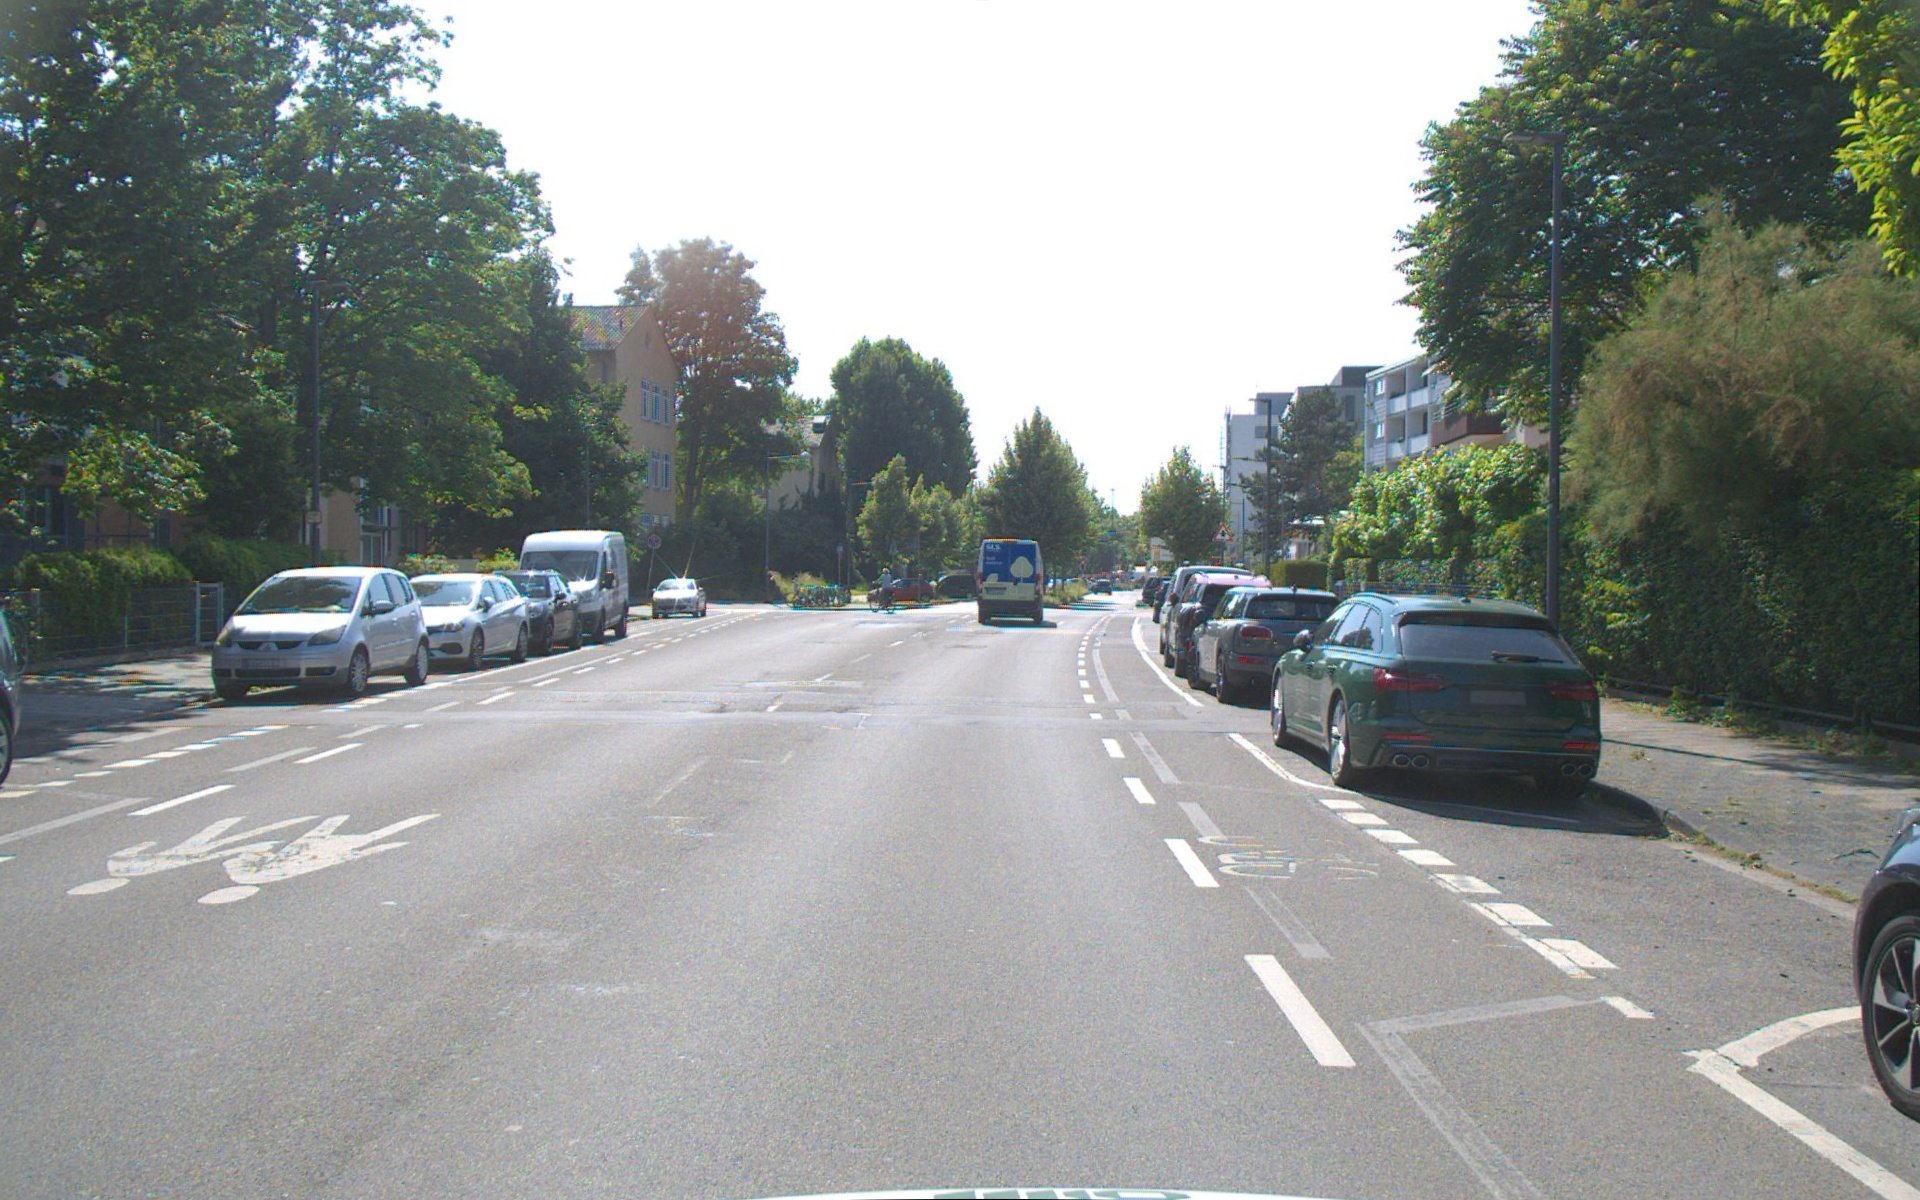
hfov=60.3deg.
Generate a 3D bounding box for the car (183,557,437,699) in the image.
[{"bbox_3d":[-8.092,0.309,20.956,1.798,1.623,3.774,0,0,-2],"label":"car"}]

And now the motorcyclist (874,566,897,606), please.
[{"bbox_3d":[-2.892,-0.563,64.356,0.666,1.545,0.644,-1,0,-35],"label":"motorcyclist"}]

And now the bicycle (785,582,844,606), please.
[{"bbox_3d":[-6.699,-0.284,76.054,2.640,1.066,1.023,-1,0,-11],"label":"bicycle"}]

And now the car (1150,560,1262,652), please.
[{"bbox_3d":[4.831,0.078,32.889,1.665,1.706,3.775,0,1,0],"label":"car"}]

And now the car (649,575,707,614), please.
[{"bbox_3d":[-10.117,-0.220,59.555,1.720,1.367,3.651,0,1,-4],"label":"car"}]

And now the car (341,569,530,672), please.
[{"bbox_3d":[-8.310,0.267,26.541,1.797,1.522,3.654,0,1,1],"label":"car"}]

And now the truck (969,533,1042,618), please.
[{"bbox_3d":[1.493,-0.790,53.424,2.225,2.616,4.393,0,1,2],"label":"truck"}]

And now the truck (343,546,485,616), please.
[{"bbox_3d":[-23.908,-0.838,72.673,5.560,2.998,2.218,0,0,-8],"label":"truck"}]

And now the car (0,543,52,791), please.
[{"bbox_3d":[-7.419,0.495,9.911,1.871,1.706,4.255,0,1,-5],"label":"car"}]

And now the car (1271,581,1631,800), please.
[{"bbox_3d":[3.773,0.599,13.512,1.748,1.424,4.325,2,1,2],"label":"car"}]

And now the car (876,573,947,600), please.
[{"bbox_3d":[-2.818,-0.790,95.424,3.916,1.516,1.624,-1,0,-12],"label":"car"}]

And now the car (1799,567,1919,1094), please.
[{"bbox_3d":[3.670,0.728,3.579,1.674,1.540,3.902,2,1,0],"label":"car"}]

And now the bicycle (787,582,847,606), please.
[{"bbox_3d":[-6.496,-0.262,74.973,2.617,1.044,1.023,-1,0,-11],"label":"bicycle"}]

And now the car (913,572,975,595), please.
[{"bbox_3d":[-1.079,-1.086,111.805,3.916,1.516,1.624,-1,0,-12],"label":"car"}]

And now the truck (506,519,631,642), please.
[{"bbox_3d":[-8.857,-0.469,37.856,2.040,2.581,5.461,0,1,-6],"label":"truck"}]

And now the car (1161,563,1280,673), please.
[{"bbox_3d":[4.280,0.238,27.577,1.664,1.706,3.777,0,1,4],"label":"car"}]

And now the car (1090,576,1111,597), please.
[{"bbox_3d":[13.743,-1.315,162.462,1.868,2.049,4.001,0,1,2],"label":"car"}]

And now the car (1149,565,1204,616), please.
[{"bbox_3d":[7.503,-0.348,57.213,1.664,1.706,3.778,0,1,11],"label":"car"}]

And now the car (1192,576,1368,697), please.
[{"bbox_3d":[4.156,0.439,22.042,1.747,1.424,4.124,1,0,3],"label":"car"}]

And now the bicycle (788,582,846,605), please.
[{"bbox_3d":[-6.678,-0.296,77.180,2.640,1.066,1.023,-1,0,-11],"label":"bicycle"}]

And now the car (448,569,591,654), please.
[{"bbox_3d":[-8.419,0.179,31.902,1.718,1.522,3.654,-1,1,1],"label":"car"}]

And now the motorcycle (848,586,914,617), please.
[{"bbox_3d":[-3.104,0.049,64.632,1.049,1.142,2.950,-1,1,-39],"label":"motorcycle"}]
